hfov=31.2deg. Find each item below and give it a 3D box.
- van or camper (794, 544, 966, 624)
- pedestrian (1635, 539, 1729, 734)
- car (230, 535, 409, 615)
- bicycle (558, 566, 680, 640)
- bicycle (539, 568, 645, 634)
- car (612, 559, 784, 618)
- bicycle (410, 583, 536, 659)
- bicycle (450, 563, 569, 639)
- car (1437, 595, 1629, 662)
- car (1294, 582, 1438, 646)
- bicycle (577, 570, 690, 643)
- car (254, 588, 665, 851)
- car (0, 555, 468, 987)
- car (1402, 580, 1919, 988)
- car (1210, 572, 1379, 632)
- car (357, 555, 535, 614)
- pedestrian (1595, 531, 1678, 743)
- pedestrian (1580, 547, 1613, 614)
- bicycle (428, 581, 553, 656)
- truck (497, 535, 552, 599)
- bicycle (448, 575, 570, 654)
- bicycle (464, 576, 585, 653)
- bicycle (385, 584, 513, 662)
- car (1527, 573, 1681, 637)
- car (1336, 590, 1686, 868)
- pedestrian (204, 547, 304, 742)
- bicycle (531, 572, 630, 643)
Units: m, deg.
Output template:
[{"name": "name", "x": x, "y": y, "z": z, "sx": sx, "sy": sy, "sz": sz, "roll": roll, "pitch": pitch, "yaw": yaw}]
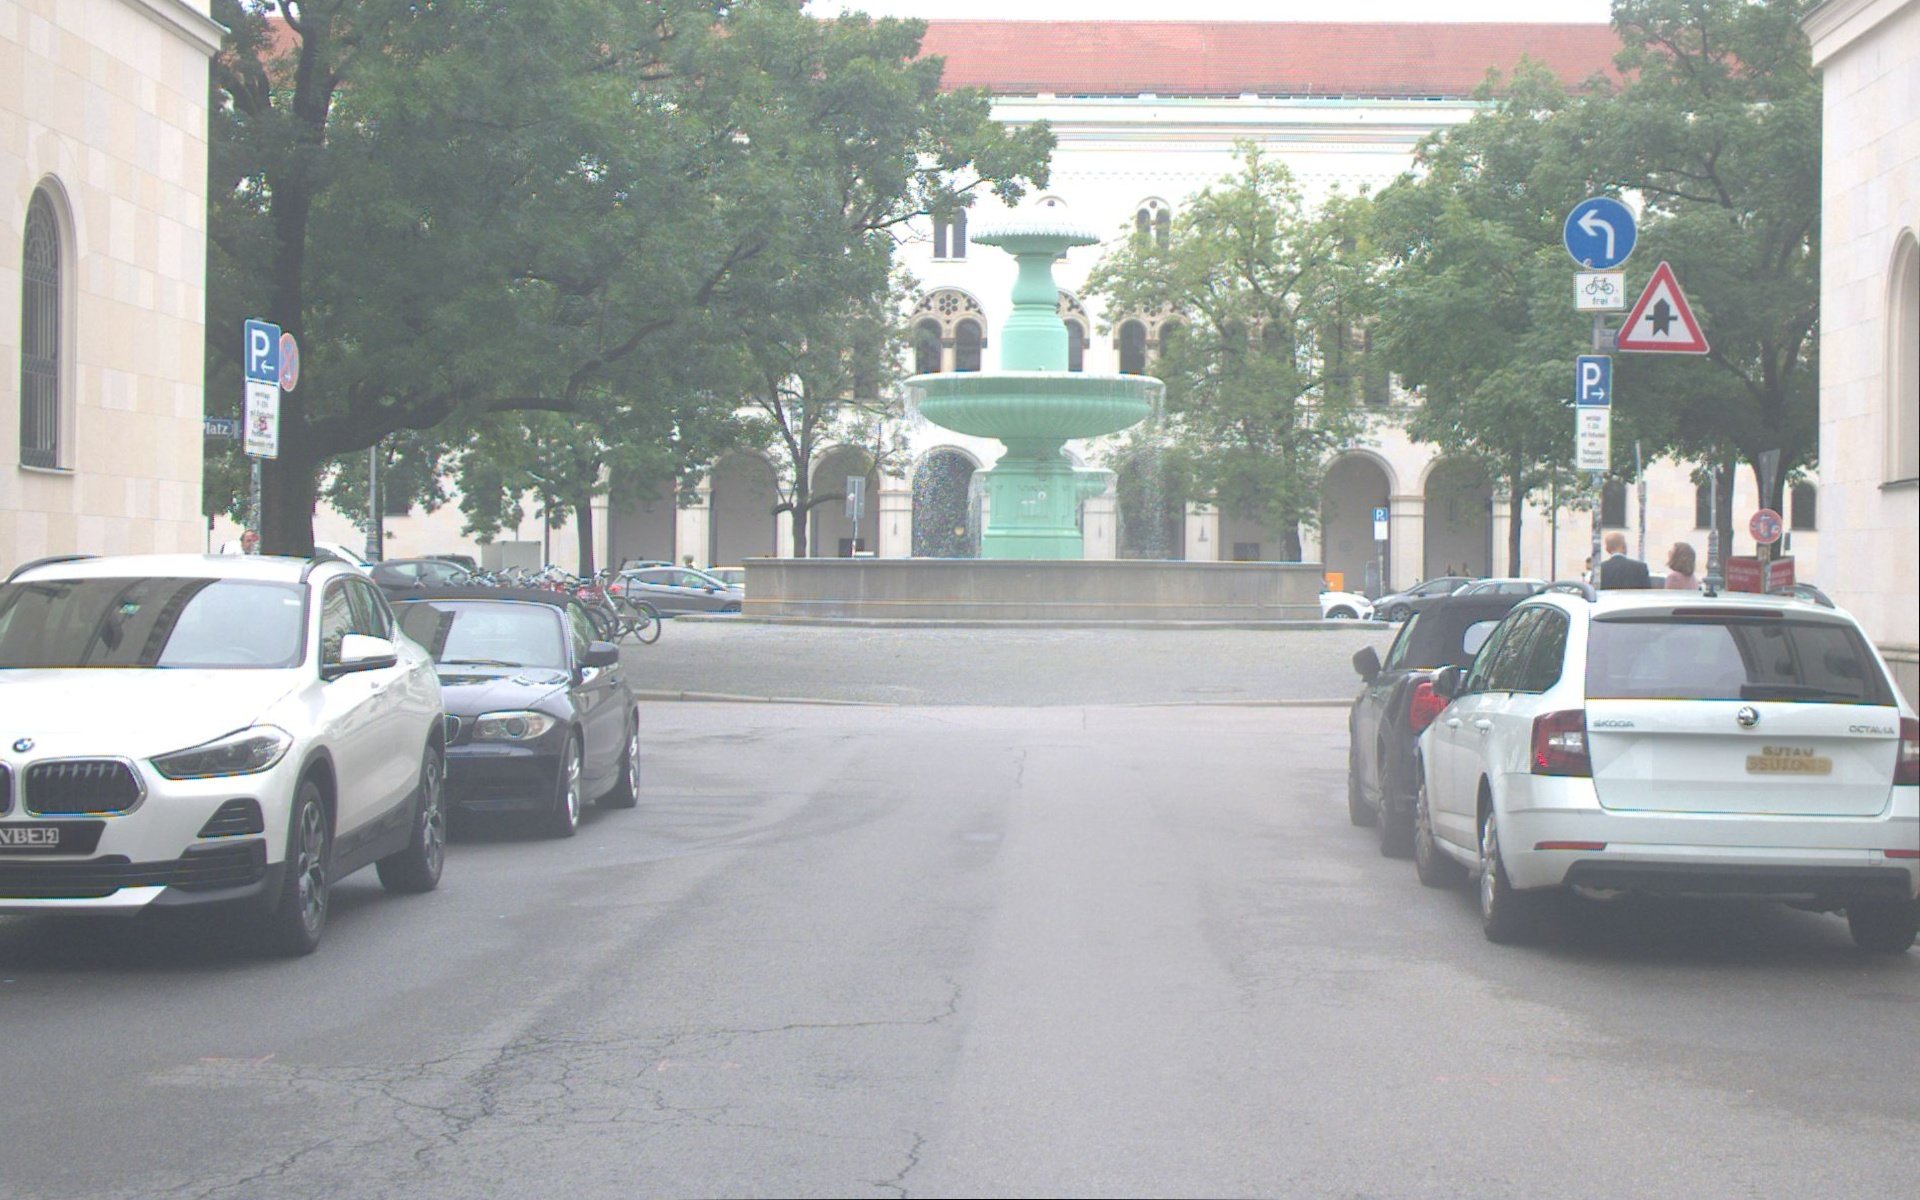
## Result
[{"name": "van or camper", "x": -2.185, "y": -0.426, "z": 94.033, "sx": 4.579, "sy": 2.007, "sz": 2.000, "roll": -2, "pitch": -1, "yaw": -1}, {"name": "pedestrian", "x": 6.328, "y": 0.314, "z": 30.153, "sx": 0.620, "sy": 1.676, "sz": 0.546, "roll": 2, "pitch": 1, "yaw": -4}, {"name": "car", "x": -16.946, "y": -0.680, "z": 91.051, "sx": 4.326, "sy": 2.007, "sz": 1.824, "roll": 1, "pitch": 1, "yaw": 2}, {"name": "bicycle", "x": -5.228, "y": 0.040, "z": 52.742, "sx": 1.711, "sy": 1.095, "sz": 0.698, "roll": 1, "pitch": 1, "yaw": 13}, {"name": "bicycle", "x": -5.921, "y": 0.015, "z": 55.352, "sx": 1.536, "sy": 1.016, "sz": 0.698, "roll": 1, "pitch": 1, "yaw": 13}, {"name": "car", "x": -6.317, "y": -0.297, "z": 83.104, "sx": 3.987, "sy": 1.371, "sz": 2.000, "roll": 0, "pitch": 1, "yaw": 1}, {"name": "bicycle", "x": -6.914, "y": 0.294, "z": 48.811, "sx": 1.619, "sy": 1.032, "sz": 0.698, "roll": 1, "pitch": 1, "yaw": 13}, {"name": "bicycle", "x": -6.837, "y": 0.008, "z": 52.199, "sx": 1.619, "sy": 1.095, "sz": 0.698, "roll": 1, "pitch": 1, "yaw": 13}, {"name": "car", "x": 13.676, "y": 0.666, "z": 82.214, "sx": 4.358, "sy": 1.519, "sz": 1.803, "roll": 0, "pitch": 1, "yaw": 3}, {"name": "car", "x": 11.858, "y": 0.405, "z": 100.688, "sx": 3.987, "sy": 1.744, "sz": 1.808, "roll": 1, "pitch": 1, "yaw": 1}, {"name": "bicycle", "x": -5.072, "y": 0.098, "z": 53.443, "sx": 1.619, "sy": 1.095, "sz": 0.616, "roll": 1, "pitch": 1, "yaw": 13}, {"name": "car", "x": -2.867, "y": 0.641, "z": 20.538, "sx": 1.698, "sy": 1.388, "sz": 4.211, "roll": -1, "pitch": 0, "yaw": 2}, {"name": "car", "x": -3.282, "y": 0.617, "z": 14.391, "sx": 1.778, "sy": 1.529, "sz": 4.211, "roll": -1, "pitch": 0, "yaw": 1}, {"name": "car", "x": 3.033, "y": 0.678, "z": 15.021, "sx": 1.789, "sy": 1.471, "sz": 4.313, "roll": 1, "pitch": 1, "yaw": 2}, {"name": "car", "x": 8.011, "y": 0.040, "z": 82.594, "sx": 3.987, "sy": 1.398, "sz": 1.824, "roll": 0, "pitch": 1, "yaw": 4}, {"name": "car", "x": -12.400, "y": -0.395, "z": 83.126, "sx": 3.987, "sy": 1.371, "sz": 2.000, "roll": 0, "pitch": 1, "yaw": 1}, {"name": "pedestrian", "x": 5.828, "y": 0.312, "z": 29.638, "sx": 0.642, "sy": 1.802, "sz": 0.489, "roll": 1, "pitch": 1, "yaw": 7}, {"name": "pedestrian", "x": 13.991, "y": -0.430, "z": 75.571, "sx": 0.583, "sy": 1.460, "sz": 0.547, "roll": 1, "pitch": 1, "yaw": 25}, {"name": "bicycle", "x": -6.766, "y": 0.263, "z": 49.555, "sx": 1.619, "sy": 1.032, "sz": 0.698, "roll": 1, "pitch": 1, "yaw": 13}, {"name": "truck", "x": -17.512, "y": -1.338, "z": 138.192, "sx": 1.993, "sy": 2.480, "sz": 4.001, "roll": 1, "pitch": 1, "yaw": -9}, {"name": "bicycle", "x": -6.599, "y": 0.205, "z": 50.305, "sx": 1.619, "sy": 1.095, "sz": 0.698, "roll": 1, "pitch": 1, "yaw": 13}, {"name": "bicycle", "x": -6.460, "y": 0.209, "z": 51.054, "sx": 1.619, "sy": 1.095, "sz": 0.698, "roll": 1, "pitch": 1, "yaw": 13}, {"name": "bicycle", "x": -7.132, "y": 0.312, "z": 47.997, "sx": 1.619, "sy": 1.032, "sz": 0.698, "roll": 1, "pitch": 1, "yaw": 13}, {"name": "car", "x": 18.747, "y": 0.131, "z": 100.138, "sx": 4.097, "sy": 1.735, "sz": 1.746, "roll": 1, "pitch": 1, "yaw": -1}, {"name": "car", "x": 3.083, "y": 0.668, "z": 19.839, "sx": 1.540, "sy": 1.421, "sz": 3.772, "roll": 1, "pitch": 0, "yaw": 2}, {"name": "pedestrian", "x": -6.374, "y": 0.391, "z": 31.066, "sx": 0.754, "sy": 1.743, "sz": 0.689, "roll": 0, "pitch": 1, "yaw": 0}, {"name": "bicycle", "x": -6.035, "y": 0.113, "z": 54.646, "sx": 1.401, "sy": 1.095, "sz": 0.656, "roll": 1, "pitch": 1, "yaw": 13}]
